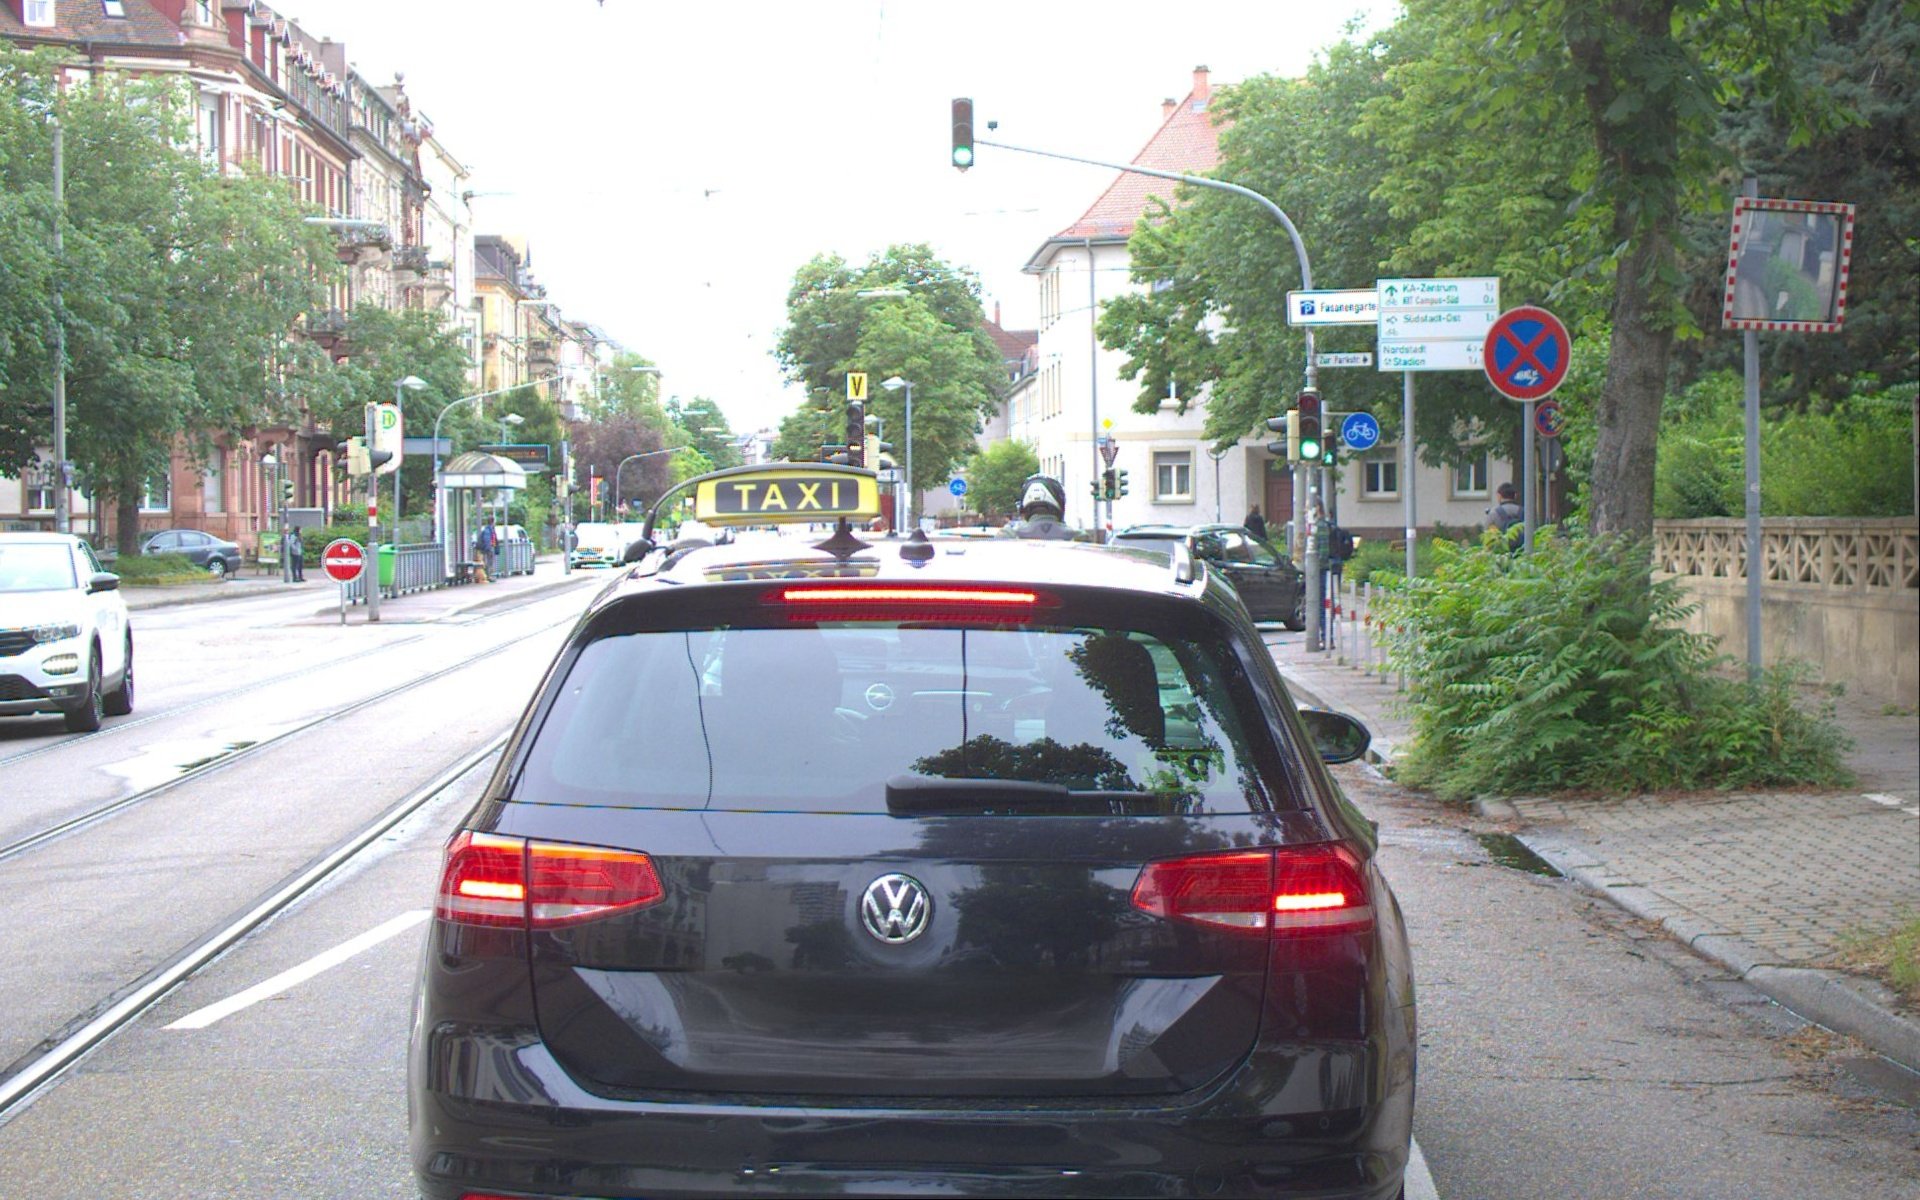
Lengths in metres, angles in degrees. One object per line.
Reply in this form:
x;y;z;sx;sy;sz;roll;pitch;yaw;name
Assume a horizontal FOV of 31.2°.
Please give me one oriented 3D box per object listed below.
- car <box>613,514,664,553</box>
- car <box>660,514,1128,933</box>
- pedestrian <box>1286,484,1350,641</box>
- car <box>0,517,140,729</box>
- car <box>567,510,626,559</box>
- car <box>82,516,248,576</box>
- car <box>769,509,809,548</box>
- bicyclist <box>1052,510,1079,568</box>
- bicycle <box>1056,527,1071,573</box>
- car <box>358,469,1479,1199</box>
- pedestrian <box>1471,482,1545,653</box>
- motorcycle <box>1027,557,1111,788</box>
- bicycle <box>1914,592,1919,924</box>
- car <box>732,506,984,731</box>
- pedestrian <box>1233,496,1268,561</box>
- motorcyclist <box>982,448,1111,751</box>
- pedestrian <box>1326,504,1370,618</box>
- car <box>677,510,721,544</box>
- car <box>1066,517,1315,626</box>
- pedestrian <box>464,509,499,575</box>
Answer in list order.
-12.372;-2.576;132.454;1.721;1.459;3.864;-1;1;-2;car
-0.315;0.407;14.679;1.723;1.541;4.001;0;1;-2;car
4.262;-0.449;40.918;0.585;1.824;0.604;-3;1;-1;pedestrian
-7.381;0.130;26.312;1.698;1.491;3.932;-2;2;-7;car
-12.313;-2.228;116.686;1.721;1.617;3.864;-1;1;-2;car
-21.994;-1.501;95.145;3.989;1.590;1.999;-2;2;-41;car
-9.094;-3.775;182.794;2.032;2.007;4.000;1;1;-2;car
2.841;-1.644;92.536;0.651;1.563;0.695;-1;1;5;bicyclist
2.789;-1.346;92.614;0.297;1.219;1.430;-1;1;5;bicycle
-0.133;0.519;7.299;1.723;1.541;4.001;0;1;-2;car
5.856;-0.356;36.757;0.632;1.808;0.726;-1;1;-4;pedestrian
0.616;0.387;19.726;0.446;1.231;1.907;-1;1;1;motorcycle
4.248;0.569;12.921;0.433;1.194;1.899;1;0;43;bicycle
-0.774;0.077;25.610;1.723;1.541;4.001;0;1;-2;car
6.908;-1.703;81.692;0.608;1.548;0.583;-1;2;-41;pedestrian
0.491;-0.011;19.625;0.703;1.686;0.804;-1;1;1;motorcyclist
6.341;-0.640;56.173;0.515;1.824;0.417;-3;1;26;pedestrian
-12.769;-3.591;168.327;1.795;1.590;4.000;-1;1;1;car
3.245;-0.414;47.680;1.895;1.403;3.994;0;2;29;car
-11.024;-1.337;79.220;0.714;1.515;0.590;0;1;0;pedestrian
